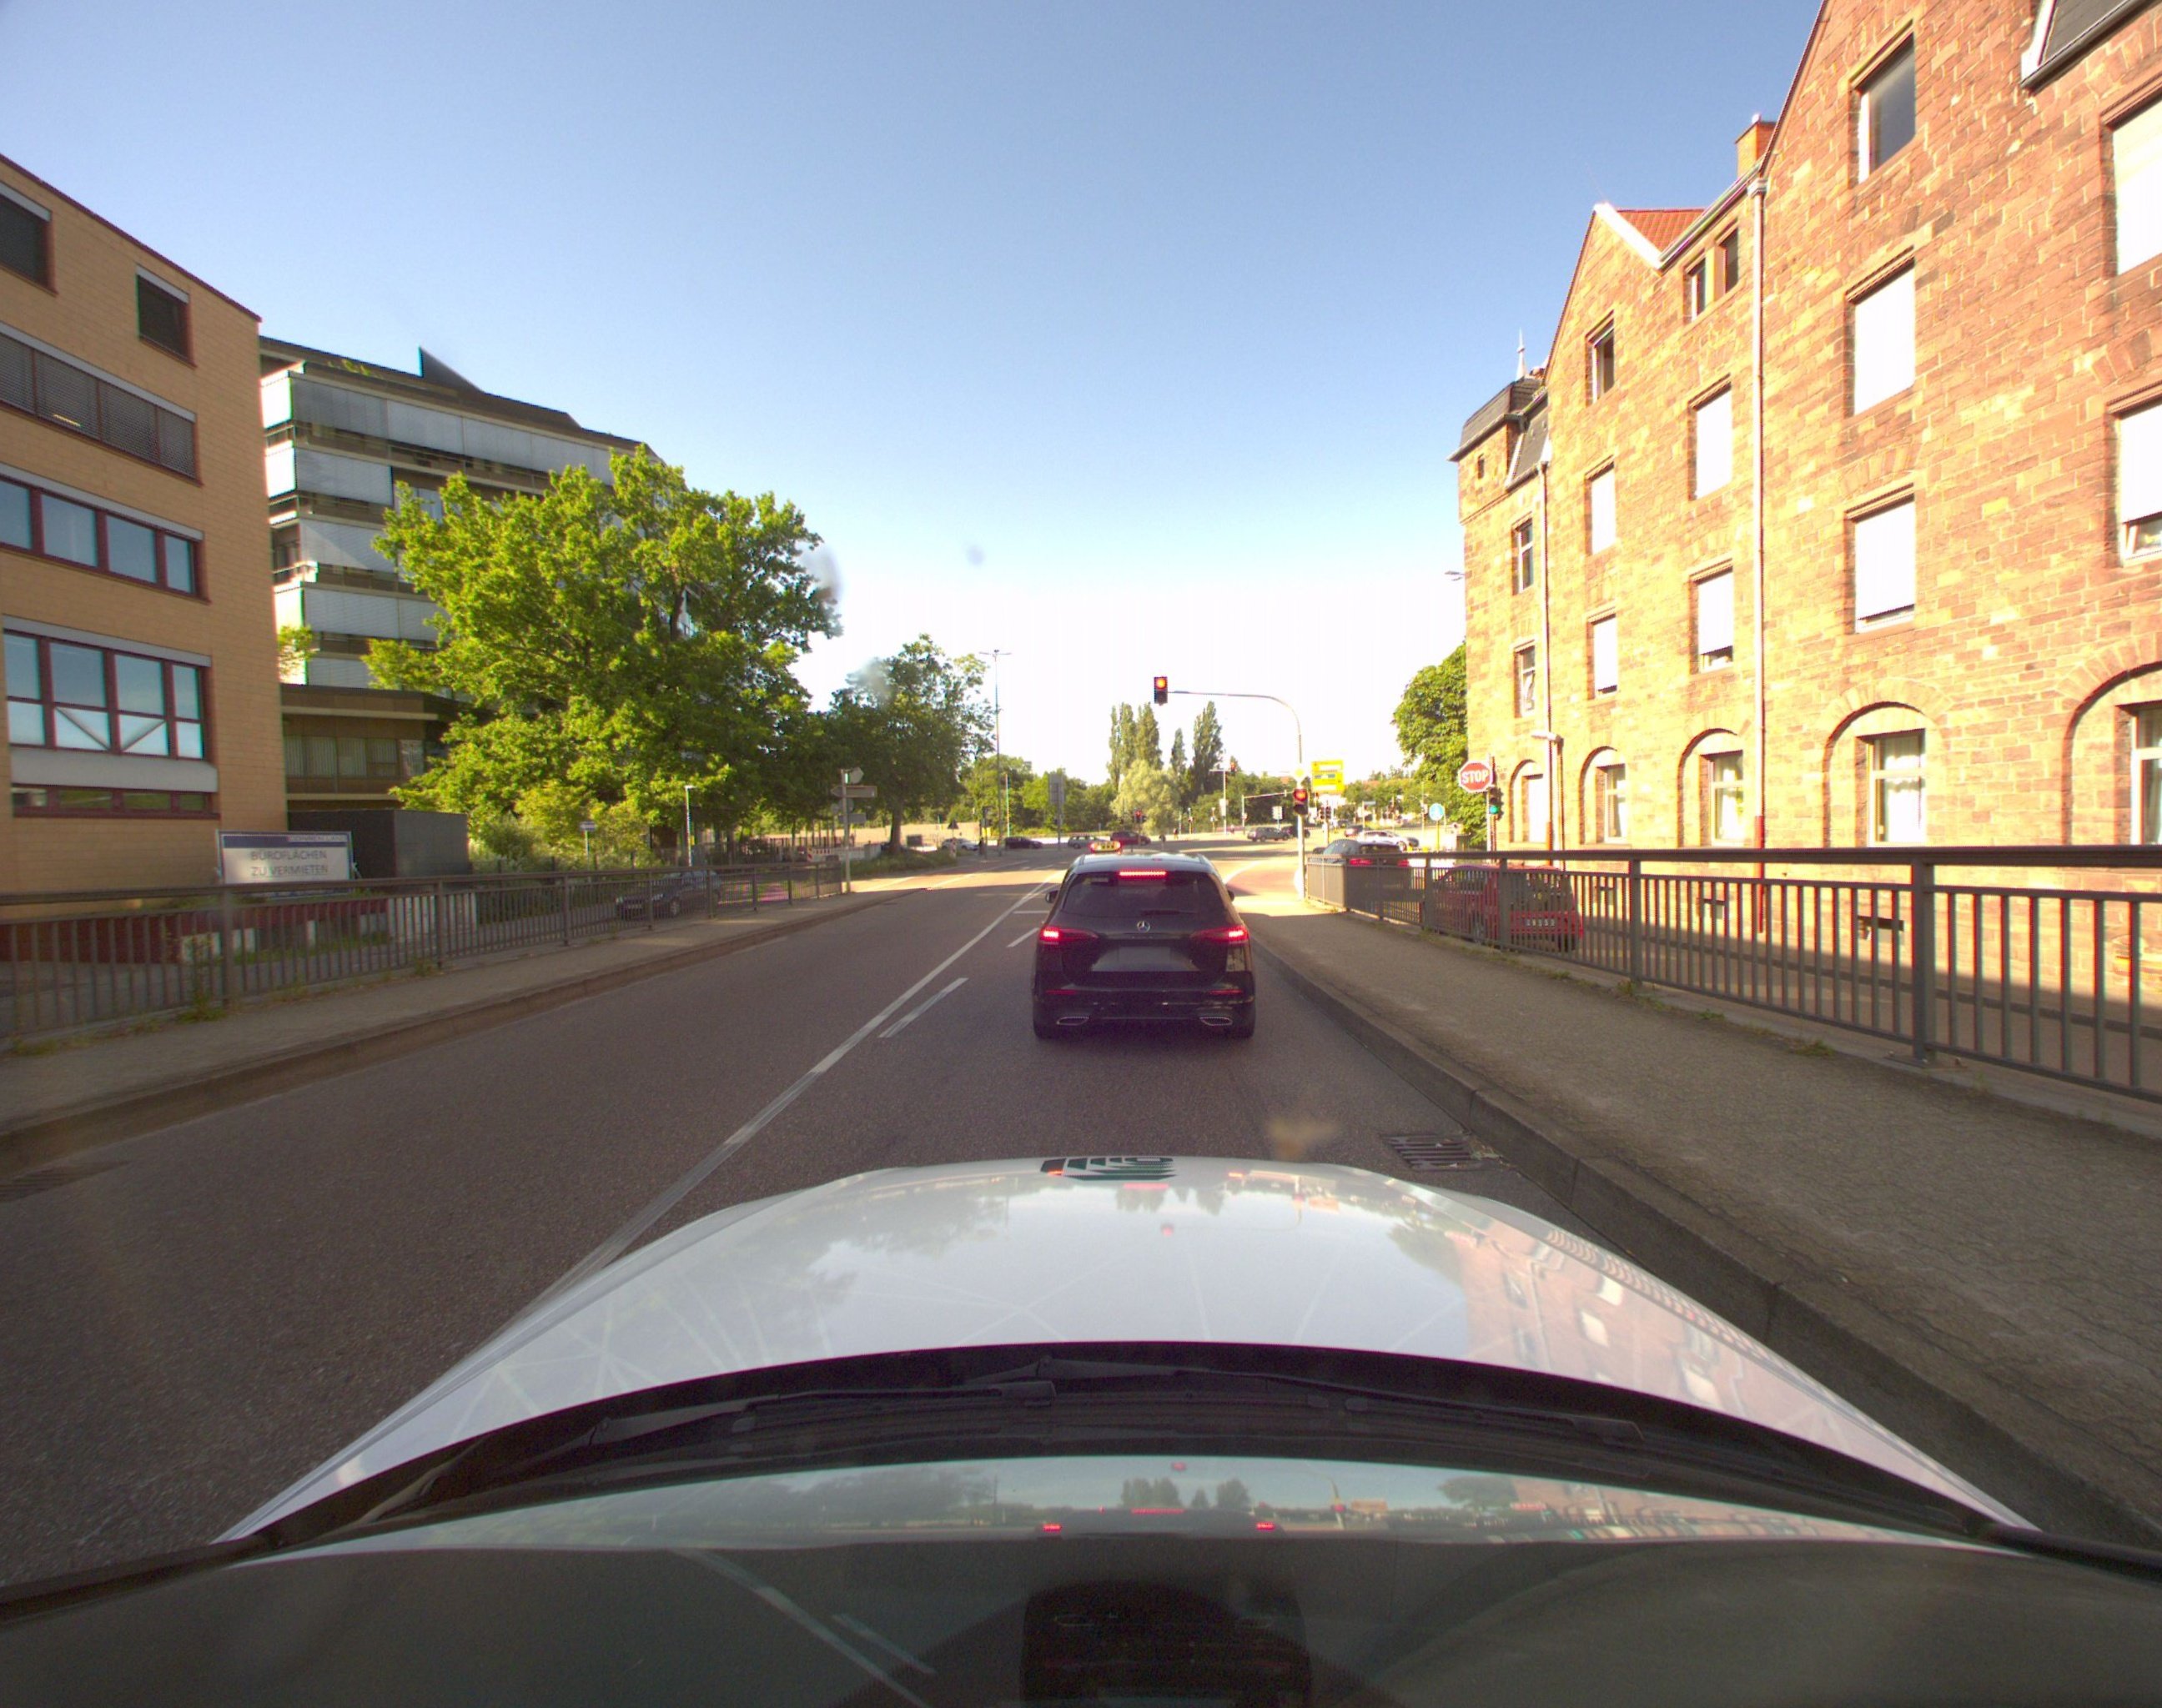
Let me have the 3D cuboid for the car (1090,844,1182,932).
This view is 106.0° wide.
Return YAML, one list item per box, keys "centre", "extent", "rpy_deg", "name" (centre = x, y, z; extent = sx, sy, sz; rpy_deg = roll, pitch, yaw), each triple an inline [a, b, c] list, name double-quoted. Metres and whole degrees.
- centre: [1.140, 0.607, 16.830]
  extent: [1.632, 1.529, 3.478]
  rpy_deg: [-2, 1, 4]
  name: "car"

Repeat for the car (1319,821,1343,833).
- centre: [35.084, -3.757, 114.106]
  extent: [1.860, 1.578, 4.026]
  rpy_deg: [-1, 2, 38]
  name: "car"

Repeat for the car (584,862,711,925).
- centre: [-13.947, 1.202, 26.504]
  extent: [1.844, 1.692, 4.002]
  rpy_deg: [-2, 2, 2]
  name: "car"

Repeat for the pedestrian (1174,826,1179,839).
- centre: [12.136, -2.751, 103.558]
  extent: [0.446, 1.585, 0.504]
  rpy_deg: [-2, 1, 42]
  name: "pedestrian"

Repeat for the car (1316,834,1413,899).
- centre: [8.620, 0.315, 25.101]
  extent: [1.714, 1.812, 4.301]
  rpy_deg: [0, 1, 3]
  name: "car"

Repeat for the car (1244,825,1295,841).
- centre: [19.452, -2.164, 84.212]
  extent: [4.825, 1.441, 1.986]
  rpy_deg: [-4, 2, -21]
  name: "car"

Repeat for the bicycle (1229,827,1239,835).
- centre: [21.443, -3.254, 114.046]
  extent: [0.520, 1.050, 2.003]
  rpy_deg: [-2, 1, 35]
  name: "bicycle"

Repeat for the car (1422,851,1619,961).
- centre: [7.593, 0.803, 14.464]
  extent: [1.715, 1.521, 3.488]
  rpy_deg: [-2, 3, 2]
  name: "car"

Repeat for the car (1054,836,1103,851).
- centre: [-0.220, -1.033, 80.571]
  extent: [4.553, 1.294, 2.005]
  rpy_deg: [-2, 2, 8]
  name: "car"

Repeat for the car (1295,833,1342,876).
- centre: [10.163, -0.034, 35.114]
  extent: [1.709, 1.603, 4.314]
  rpy_deg: [0, 3, 13]
  name: "car"

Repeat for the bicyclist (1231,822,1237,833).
- centre: [21.429, -3.750, 114.026]
  extent: [0.520, 1.551, 0.812]
  rpy_deg: [-2, 1, 35]
  name: "bicyclist"

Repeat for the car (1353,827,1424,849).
- centre: [21.310, -1.112, 56.501]
  extent: [4.176, 1.294, 2.013]
  rpy_deg: [-1, 3, 34]
  name: "car"

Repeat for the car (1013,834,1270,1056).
- centre: [0.505, 0.650, 7.952]
  extent: [1.871, 1.613, 4.002]
  rpy_deg: [0, 1, 2]
  name: "car"

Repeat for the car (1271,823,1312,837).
- centre: [23.266, -2.645, 90.059]
  extent: [4.083, 1.357, 1.773]
  rpy_deg: [-4, 2, -24]
  name: "car"

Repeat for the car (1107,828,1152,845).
- centre: [5.053, -1.853, 85.108]
  extent: [4.520, 1.455, 2.001]
  rpy_deg: [-3, 2, 1]
  name: "car"

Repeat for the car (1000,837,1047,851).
- centre: [-6.124, -1.106, 87.031]
  extent: [4.539, 1.294, 1.897]
  rpy_deg: [-2, 2, 22]
  name: "car"

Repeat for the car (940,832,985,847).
- centre: [-12.370, -1.494, 84.785]
  extent: [4.259, 1.365, 2.013]
  rpy_deg: [-1, 3, 29]
  name: "car"

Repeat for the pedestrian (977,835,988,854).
- centre: [-8.292, -0.789, 68.393]
  extent: [0.700, 1.525, 0.746]
  rpy_deg: [-1, 1, 12]
  name: "pedestrian"

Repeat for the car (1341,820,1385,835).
- centre: [31.075, -2.909, 89.834]
  extent: [4.297, 1.441, 1.986]
  rpy_deg: [-4, 2, -21]
  name: "car"

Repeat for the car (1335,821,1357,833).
- centre: [38.782, -4.006, 119.178]
  extent: [1.860, 1.578, 4.026]
  rpy_deg: [-1, 2, 38]
  name: "car"
